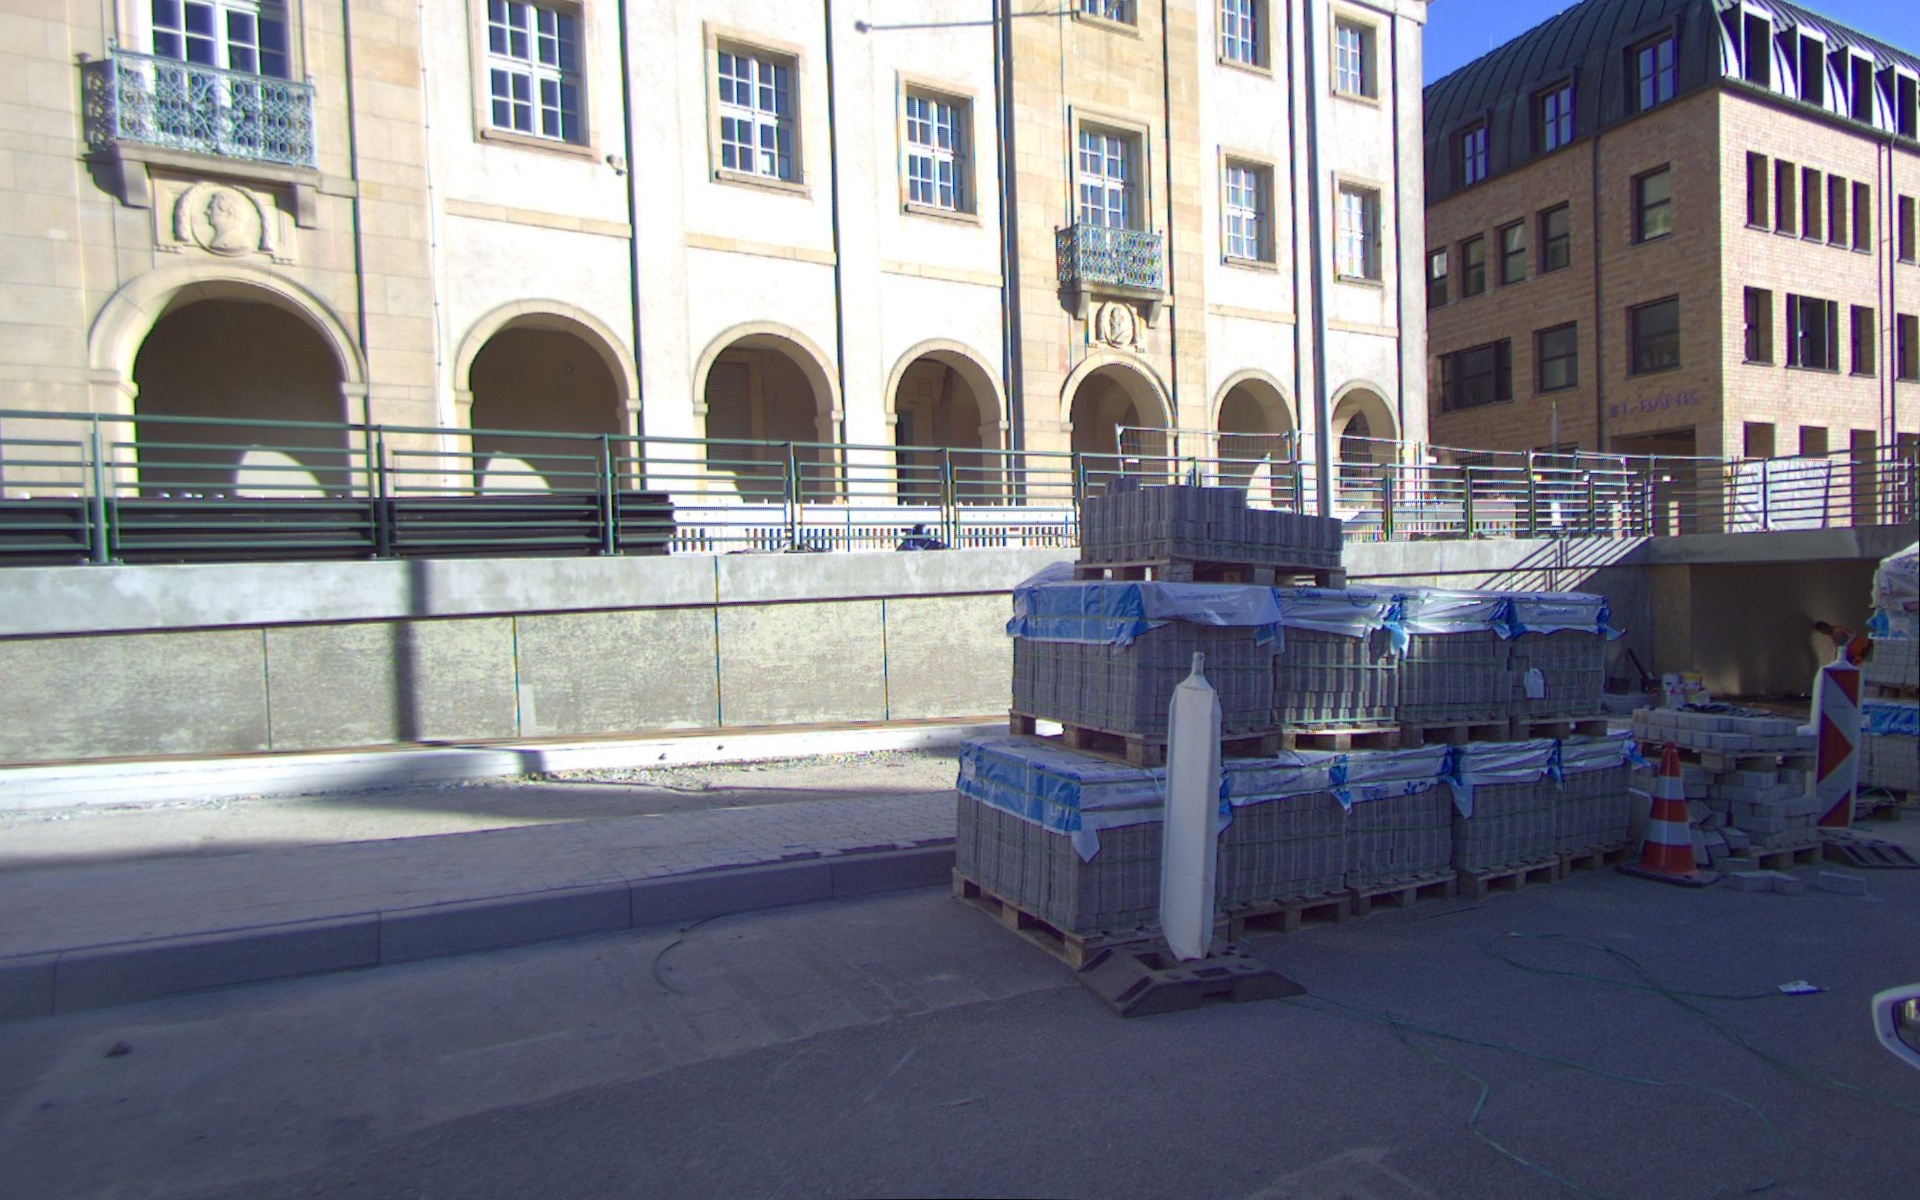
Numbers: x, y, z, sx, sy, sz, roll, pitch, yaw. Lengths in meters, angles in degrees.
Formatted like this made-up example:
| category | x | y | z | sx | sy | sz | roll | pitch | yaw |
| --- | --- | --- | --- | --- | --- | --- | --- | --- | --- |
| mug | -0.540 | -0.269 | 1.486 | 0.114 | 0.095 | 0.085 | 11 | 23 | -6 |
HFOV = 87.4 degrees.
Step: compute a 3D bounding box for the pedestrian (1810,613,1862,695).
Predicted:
| category | x | y | z | sx | sy | sz | roll | pitch | yaw |
| --- | --- | --- | --- | --- | --- | --- | --- | --- | --- |
| pedestrian | 17.634 | 1.073 | 20.225 | 0.624 | 1.601 | 0.645 | 1 | 0 | -34 |
